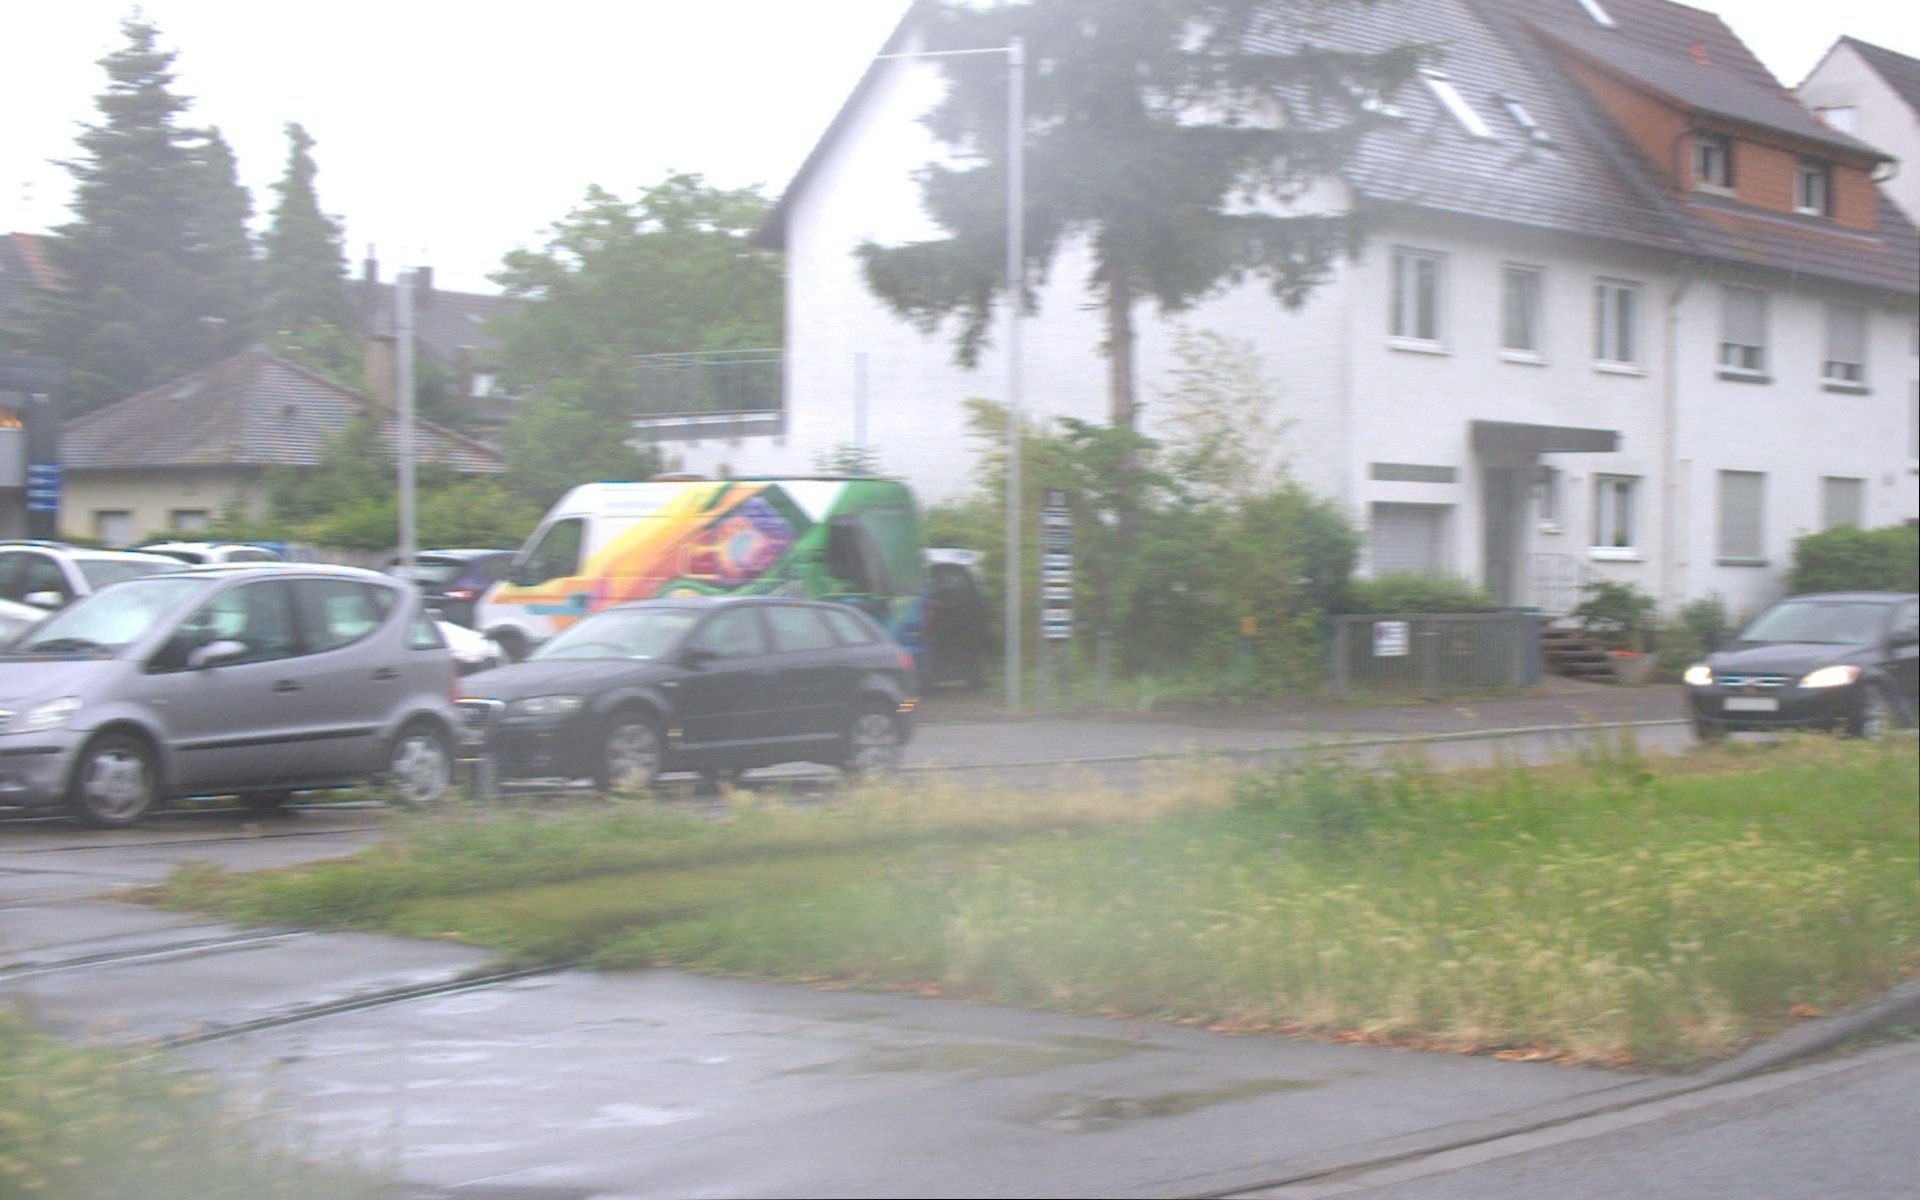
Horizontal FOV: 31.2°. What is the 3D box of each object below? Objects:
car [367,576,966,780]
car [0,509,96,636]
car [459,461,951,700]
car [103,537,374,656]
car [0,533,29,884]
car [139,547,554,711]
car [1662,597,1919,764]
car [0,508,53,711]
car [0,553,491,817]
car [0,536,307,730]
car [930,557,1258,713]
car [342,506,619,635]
[{"bbox_3d":[-2.038,0.593,25.039,1.721,1.334,4.378,1,-1,40],"label":"car"},{"bbox_3d":[-12.881,-0.367,43.072,3.995,1.493,1.783,1,-1,36],"label":"car"},{"bbox_3d":[-2.813,-0.214,37.253,5.143,2.398,2.147,1,-1,38],"label":"car"},{"bbox_3d":[-9.992,-0.050,47.972,1.789,1.575,4.443,0,0,17],"label":"car"},{"bbox_3d":[-6.464,0.403,14.556,1.998,1.600,4.562,1,-1,37],"label":"car"},{"bbox_3d":[-5.697,0.254,31.715,3.839,1.391,1.718,1,-1,42],"label":"car"},{"bbox_3d":[8.509,0.794,33.019,1.740,1.481,3.990,1,-1,40],"label":"car"},{"bbox_3d":[-9.165,0.050,27.491,3.868,1.573,1.803,1,1,40],"label":"car"},{"bbox_3d":[-4.898,0.536,21.509,1.721,1.499,3.635,1,-1,40],"label":"car"},{"bbox_3d":[-7.504,0.267,29.854,3.614,1.568,1.718,1,-1,42],"label":"car"},{"bbox_3d":[1.641,0.368,40.886,1.998,1.559,3.887,2,4,38],"label":"car"},{"bbox_3d":[-6.089,-0.366,44.207,1.860,1.575,4.396,0,0,17],"label":"car"}]
